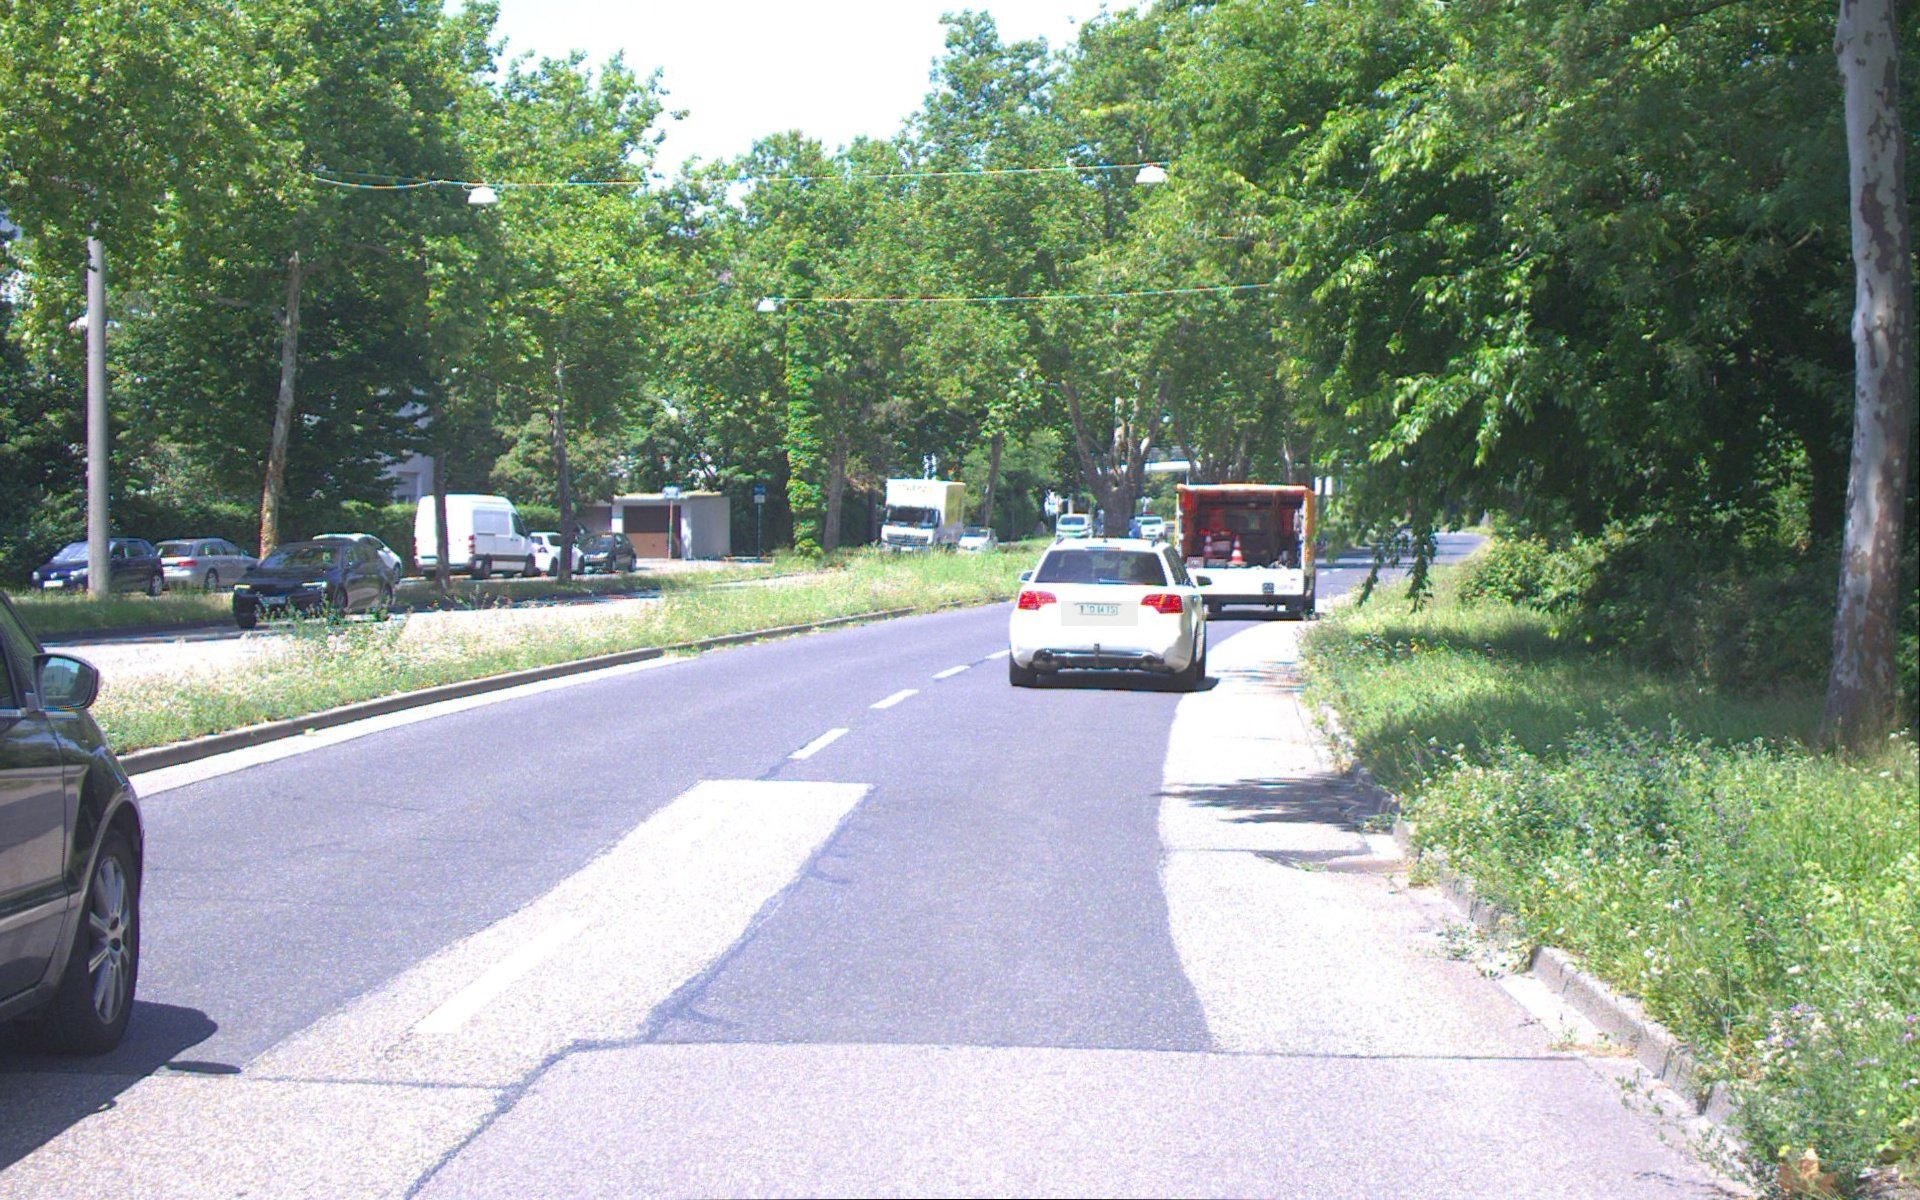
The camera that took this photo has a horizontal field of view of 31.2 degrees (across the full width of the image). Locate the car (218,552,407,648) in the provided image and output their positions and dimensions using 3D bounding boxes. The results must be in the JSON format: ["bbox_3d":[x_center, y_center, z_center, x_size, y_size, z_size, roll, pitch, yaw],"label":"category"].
[{"bbox_3d":[-11.079,-0.026,59.126,1.813,1.501,4.592,0,2,8],"label":"car"}]

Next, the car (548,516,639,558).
[{"bbox_3d":[-12.658,-2.182,119.006,1.830,1.386,3.945,0,2,15],"label":"car"}]

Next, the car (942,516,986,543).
[{"bbox_3d":[0.195,-3.319,161.132,1.914,1.206,4.335,-1,2,1],"label":"car"}]

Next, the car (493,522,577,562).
[{"bbox_3d":[-13.980,-1.935,113.379,1.694,1.279,3.801,0,2,10],"label":"car"}]

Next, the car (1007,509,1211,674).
[{"bbox_3d":[1.480,-0.120,33.035,1.763,1.440,3.615,2,1,5],"label":"car"}]

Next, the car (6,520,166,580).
[{"bbox_3d":[-20.911,-1.215,82.419,1.883,1.388,3.997,0,2,18],"label":"car"}]

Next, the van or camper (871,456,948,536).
[{"bbox_3d":[-2.131,-4.428,146.329,2.661,3.320,5.499,0,2,6],"label":"van or camper"}]

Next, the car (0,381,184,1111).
[{"bbox_3d":[-3.237,0.359,7.669,1.854,1.749,4.649,1,2,1],"label":"car"}]

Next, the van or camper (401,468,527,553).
[{"bbox_3d":[-15.365,-2.787,106.863,2.183,2.578,5.306,0,2,12],"label":"van or camper"}]

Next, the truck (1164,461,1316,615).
[{"bbox_3d":[5.145,-1.203,62.344,2.511,2.550,7.602,2,2,6],"label":"truck"}]

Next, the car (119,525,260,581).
[{"bbox_3d":[-19.649,-1.211,87.853,1.883,1.371,3.997,0,2,15],"label":"car"}]
